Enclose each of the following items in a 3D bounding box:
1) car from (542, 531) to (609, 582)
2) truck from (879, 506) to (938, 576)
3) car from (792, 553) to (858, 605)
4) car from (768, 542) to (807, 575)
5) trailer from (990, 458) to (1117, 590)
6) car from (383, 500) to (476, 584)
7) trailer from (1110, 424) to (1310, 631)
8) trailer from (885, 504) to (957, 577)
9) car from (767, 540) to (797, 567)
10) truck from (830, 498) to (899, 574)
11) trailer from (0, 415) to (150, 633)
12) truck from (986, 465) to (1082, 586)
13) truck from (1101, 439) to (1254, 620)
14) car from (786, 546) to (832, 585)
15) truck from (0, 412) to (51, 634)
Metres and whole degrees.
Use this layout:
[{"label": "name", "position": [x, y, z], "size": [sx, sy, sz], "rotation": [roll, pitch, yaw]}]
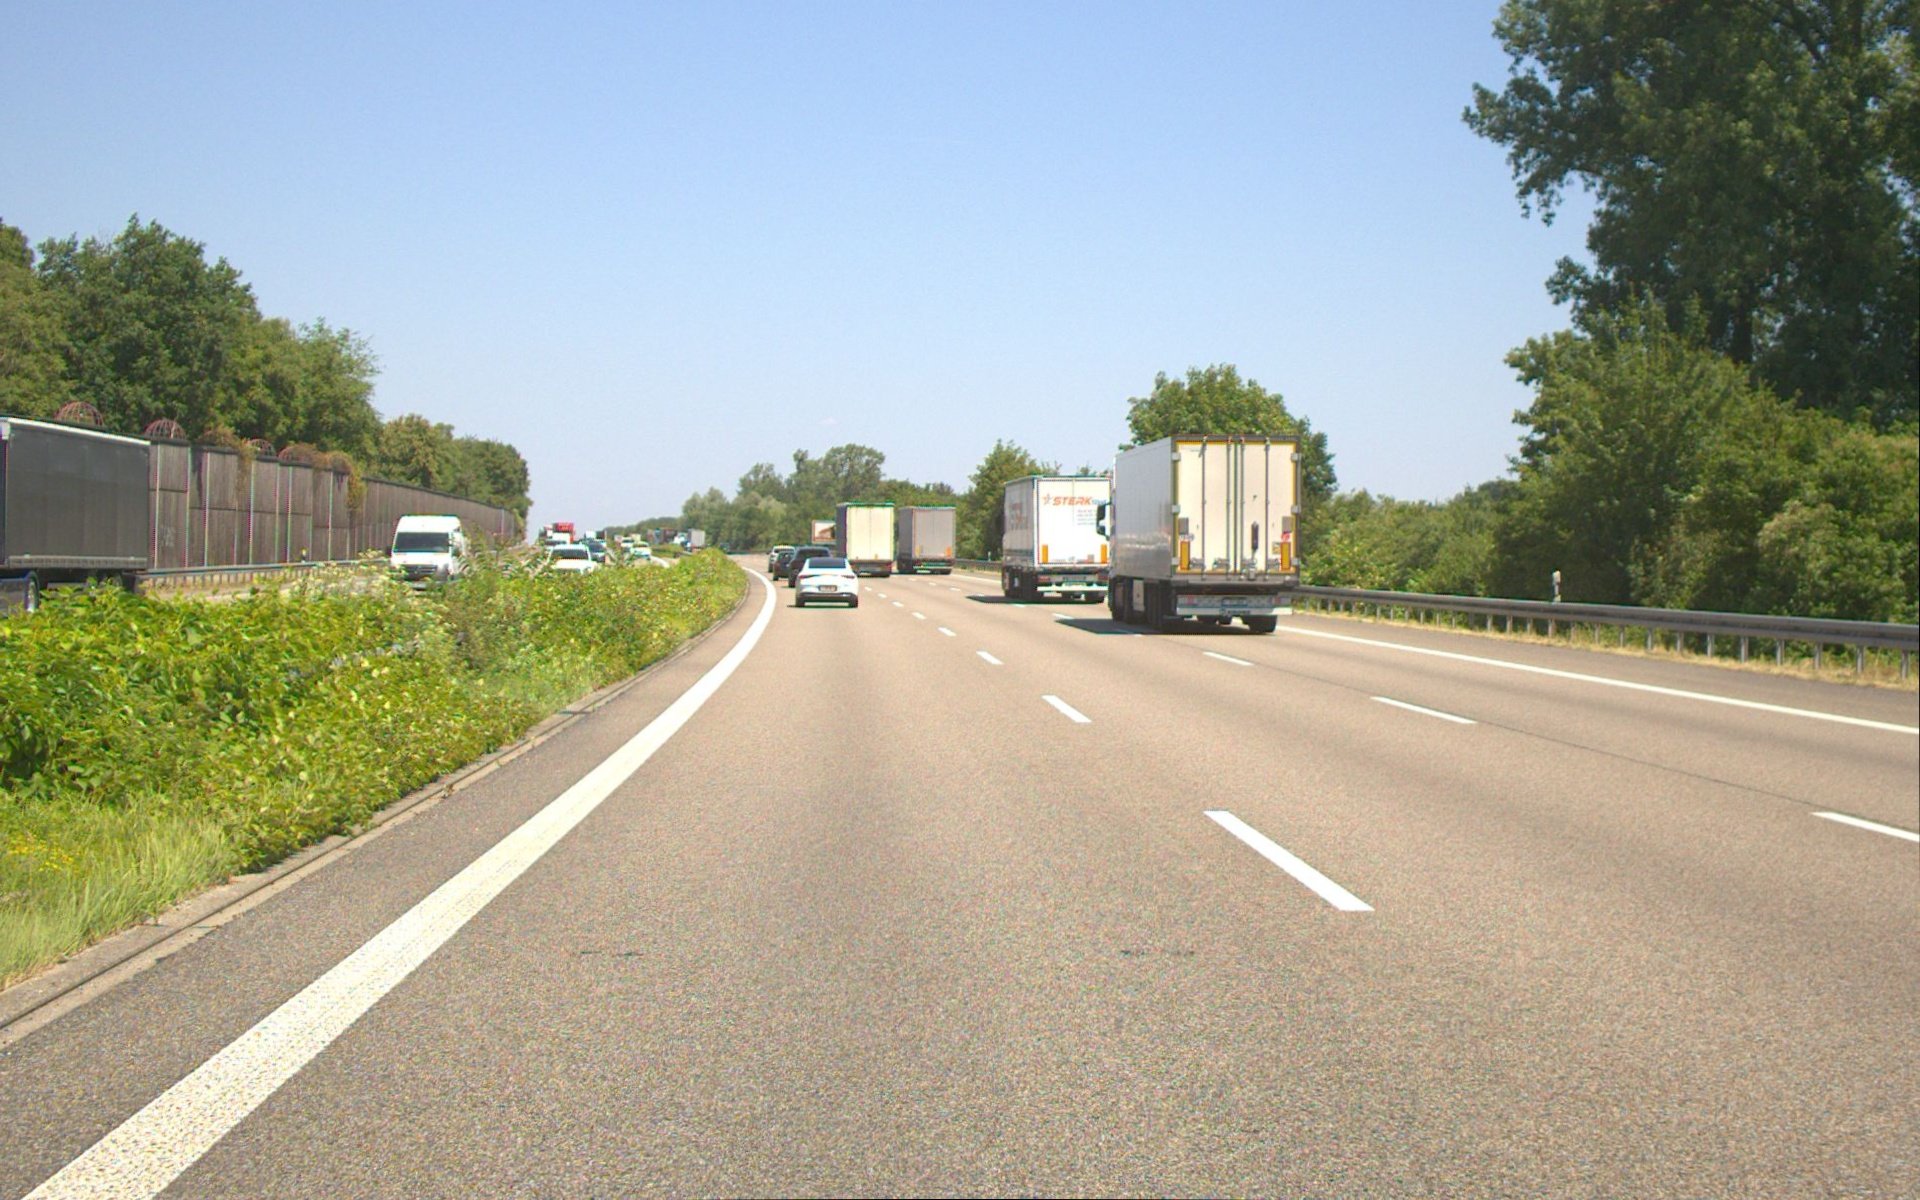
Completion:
[{"label": "car", "position": [-13.888, -1.584, 124.456], "size": [1.995, 1.714, 5.025], "rotation": [2, 1, -2]}, {"label": "truck", "position": [-3.266, -3.685, 215.739], "size": [2.690, 4.201, 7.840], "rotation": [2, 0, -8]}, {"label": "car", "position": [-3.991, -0.638, 101.437], "size": [1.855, 1.481, 4.001], "rotation": [1, 1, -3]}, {"label": "car", "position": [-8.586, -2.086, 171.014], "size": [1.855, 1.611, 4.001], "rotation": [1, 1, -3]}, {"label": "trailer", "position": [3.000, -2.473, 114.795], "size": [2.707, 4.074, 14.153], "rotation": [1, 1, -4]}, {"label": "car", "position": [-17.015, -1.867, 110.607], "size": [2.164, 2.532, 6.790], "rotation": [2, 1, -3]}, {"label": "trailer", "position": [5.247, -1.547, 74.671], "size": [2.959, 4.092, 12.534], "rotation": [1, 1, -2]}, {"label": "trailer", "position": [-2.460, -3.601, 209.689], "size": [2.703, 4.201, 13.215], "rotation": [2, 0, -8]}, {"label": "car", "position": [-11.010, -2.863, 212.341], "size": [1.855, 1.611, 4.001], "rotation": [1, 1, -3]}, {"label": "truck", "position": [-5.418, -3.537, 192.547], "size": [2.706, 4.072, 13.476], "rotation": [2, 0, -6]}, {"label": "trailer", "position": [-19.409, -1.511, 70.839], "size": [2.898, 4.078, 13.334], "rotation": [1, 1, -3]}, {"label": "truck", "position": [2.560, -2.584, 120.829], "size": [2.707, 4.074, 6.965], "rotation": [1, 1, -4]}, {"label": "truck", "position": [5.054, -1.647, 81.050], "size": [2.959, 4.092, 6.207], "rotation": [1, 1, -2]}, {"label": "car", "position": [-6.359, -1.462, 144.356], "size": [1.855, 1.611, 4.001], "rotation": [1, 1, -3]}, {"label": "truck", "position": [-19.084, -1.438, 64.043], "size": [2.898, 4.078, 6.118], "rotation": [1, 1, -3]}]
